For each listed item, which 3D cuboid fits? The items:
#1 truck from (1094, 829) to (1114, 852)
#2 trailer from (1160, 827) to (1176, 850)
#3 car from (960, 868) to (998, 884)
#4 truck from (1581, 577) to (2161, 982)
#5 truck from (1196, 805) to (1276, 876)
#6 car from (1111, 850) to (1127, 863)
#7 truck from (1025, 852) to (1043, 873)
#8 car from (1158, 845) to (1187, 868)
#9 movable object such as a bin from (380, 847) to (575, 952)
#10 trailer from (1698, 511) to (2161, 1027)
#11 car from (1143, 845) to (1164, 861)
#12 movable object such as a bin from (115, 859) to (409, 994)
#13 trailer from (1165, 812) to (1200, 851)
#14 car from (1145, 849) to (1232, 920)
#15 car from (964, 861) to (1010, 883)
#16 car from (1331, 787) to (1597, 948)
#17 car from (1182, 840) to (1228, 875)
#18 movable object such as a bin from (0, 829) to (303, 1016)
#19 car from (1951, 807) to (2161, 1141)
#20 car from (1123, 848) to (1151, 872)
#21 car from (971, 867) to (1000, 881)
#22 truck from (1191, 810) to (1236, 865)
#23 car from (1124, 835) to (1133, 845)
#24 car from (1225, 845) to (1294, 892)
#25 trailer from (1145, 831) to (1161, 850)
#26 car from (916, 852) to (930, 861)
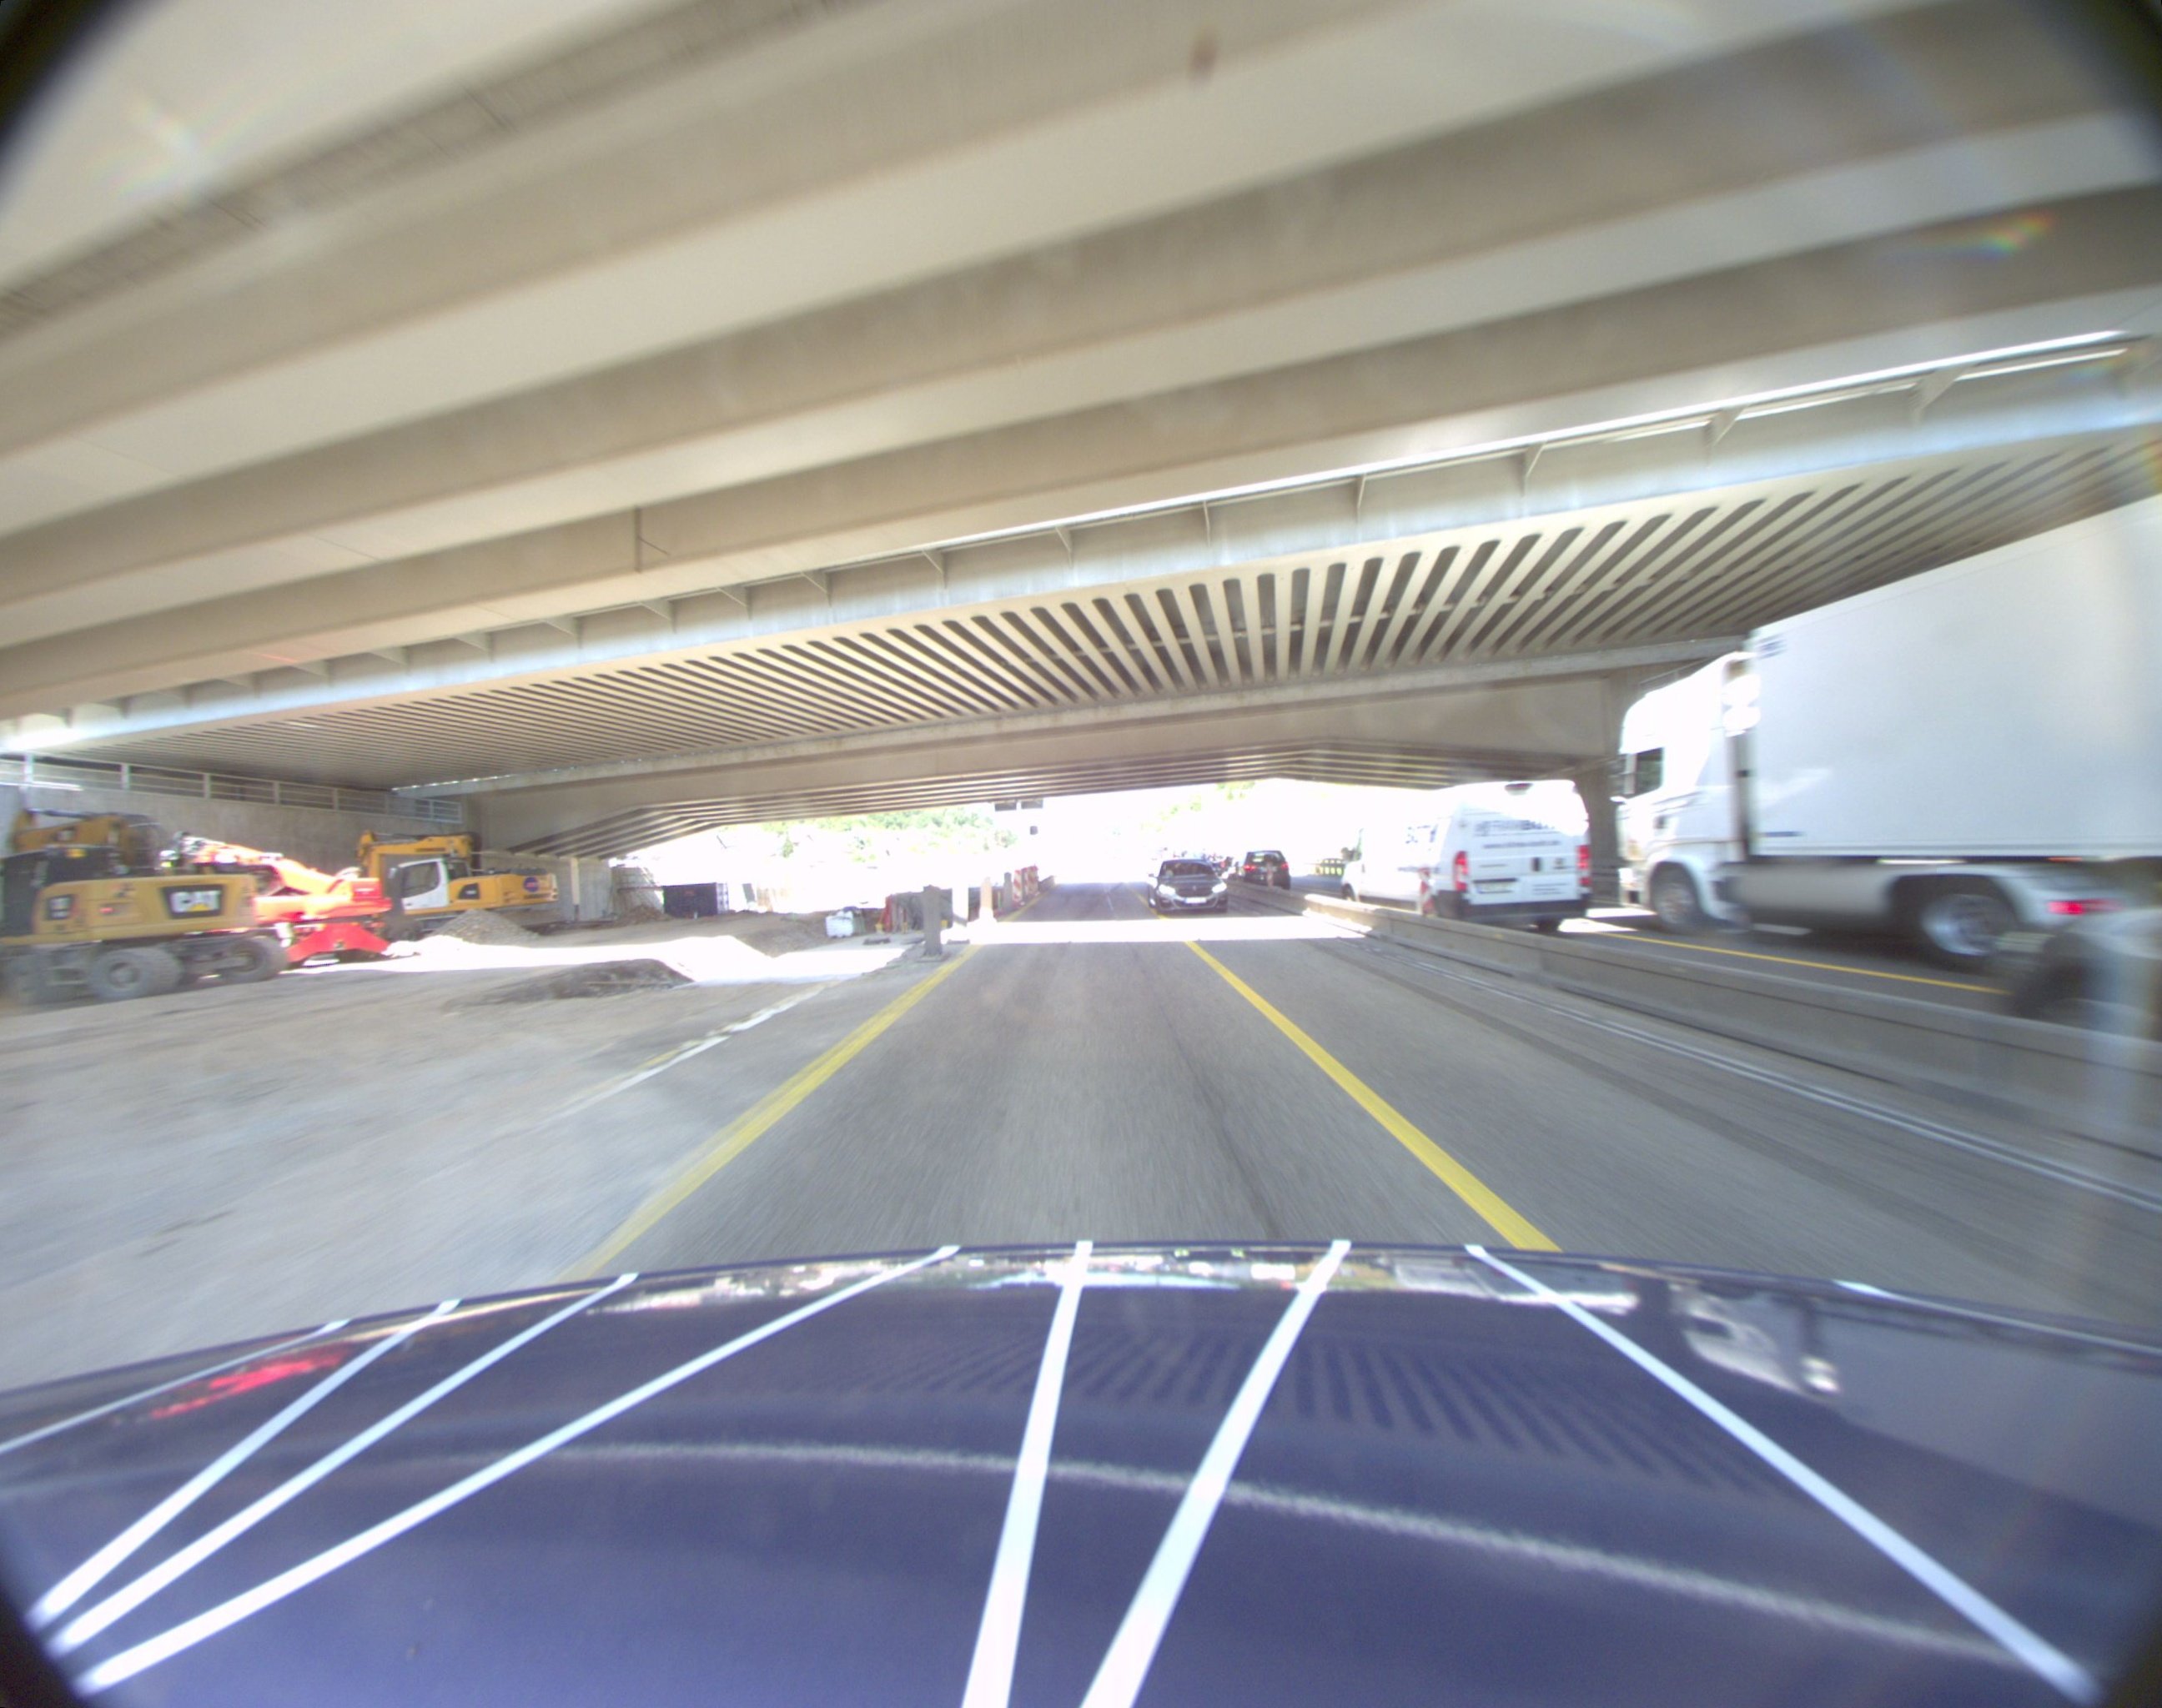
[{"bbox_3d":[4.394,-2.613,145.779,3.463,4.024,10.208,-2,2,2],"label":"truck"},{"bbox_3d":[15.441,-2.820,135.023,2.661,3.794,11.822,-2,2,6],"label":"trailer"},{"bbox_3d":[-13.933,3.016,104.285,4.801,1.759,1.720,-4,0,2],"label":"car"},{"bbox_3d":[9.952,-0.763,10.377,2.880,4.027,4.885,-4,0,2],"label":"truck"},{"bbox_3d":[10.638,-1.010,53.866,2.776,4.289,13.485,-3,2,0],"label":"truck"},{"bbox_3d":[4.804,0.281,96.565,1.801,1.543,4.000,-3,0,-1],"label":"car"},{"bbox_3d":[-8.248,1.463,133.818,2.504,3.386,5.435,-2,2,2],"label":"truck"},{"bbox_3d":[7.250,0.191,60.404,1.726,1.600,4.524,-4,0,1],"label":"car"},{"bbox_3d":[-21.926,1.582,27.823,4.563,3.268,2.990,-4,2,5],"label":"movable object such as a bin"},{"bbox_3d":[9.883,-0.735,3.068,2.884,4.016,14.357,-4,0,0],"label":"trailer"},{"bbox_3d":[7.783,-0.083,82.350,1.860,1.519,4.772,-3,2,1],"label":"car"},{"bbox_3d":[-21.967,1.891,20.565,5.250,3.039,2.497,-4,2,5],"label":"movable object such as a bin"},{"bbox_3d":[11.369,-2.527,85.874,2.819,4.150,8.241,-3,2,1],"label":"trailer"},{"bbox_3d":[2.790,0.727,20.531,1.838,1.588,4.389,-3,1,2],"label":"car"},{"bbox_3d":[-13.797,2.568,110.930,6.308,2.566,2.053,-6,0,-12],"label":"car"},{"bbox_3d":[6.674,0.174,14.287,1.985,2.316,6.057,-2,1,1],"label":"car"},{"bbox_3d":[7.300,0.185,45.199,1.804,1.921,4.967,-3,1,0],"label":"car"},{"bbox_3d":[-20.239,1.369,16.415,3.887,3.523,2.904,-4,2,12],"label":"movable object such as a bin"},{"bbox_3d":[6.191,0.551,2.591,1.751,1.661,4.079,-3,0,1],"label":"car"},{"bbox_3d":[3.961,0.403,54.437,1.838,1.465,4.389,-2,1,3],"label":"car"},{"bbox_3d":[-13.522,2.846,107.426,3.870,1.676,1.692,-4,1,-4],"label":"car"},{"bbox_3d":[10.544,-1.341,60.916,2.665,4.147,5.185,-2,2,2],"label":"truck"},{"bbox_3d":[13.037,-3.885,208.165,2.211,2.615,6.626,-3,1,1],"label":"car"},{"bbox_3d":[6.703,0.499,28.968,1.753,1.600,4.141,-2,1,2],"label":"car"},{"bbox_3d":[15.736,-2.976,166.332,2.606,3.849,11.271,-2,2,2],"label":"trailer"},{"bbox_3d":[-30.094,0.493,144.868,1.658,1.594,4.605,-3,2,1],"label":"car"}]
